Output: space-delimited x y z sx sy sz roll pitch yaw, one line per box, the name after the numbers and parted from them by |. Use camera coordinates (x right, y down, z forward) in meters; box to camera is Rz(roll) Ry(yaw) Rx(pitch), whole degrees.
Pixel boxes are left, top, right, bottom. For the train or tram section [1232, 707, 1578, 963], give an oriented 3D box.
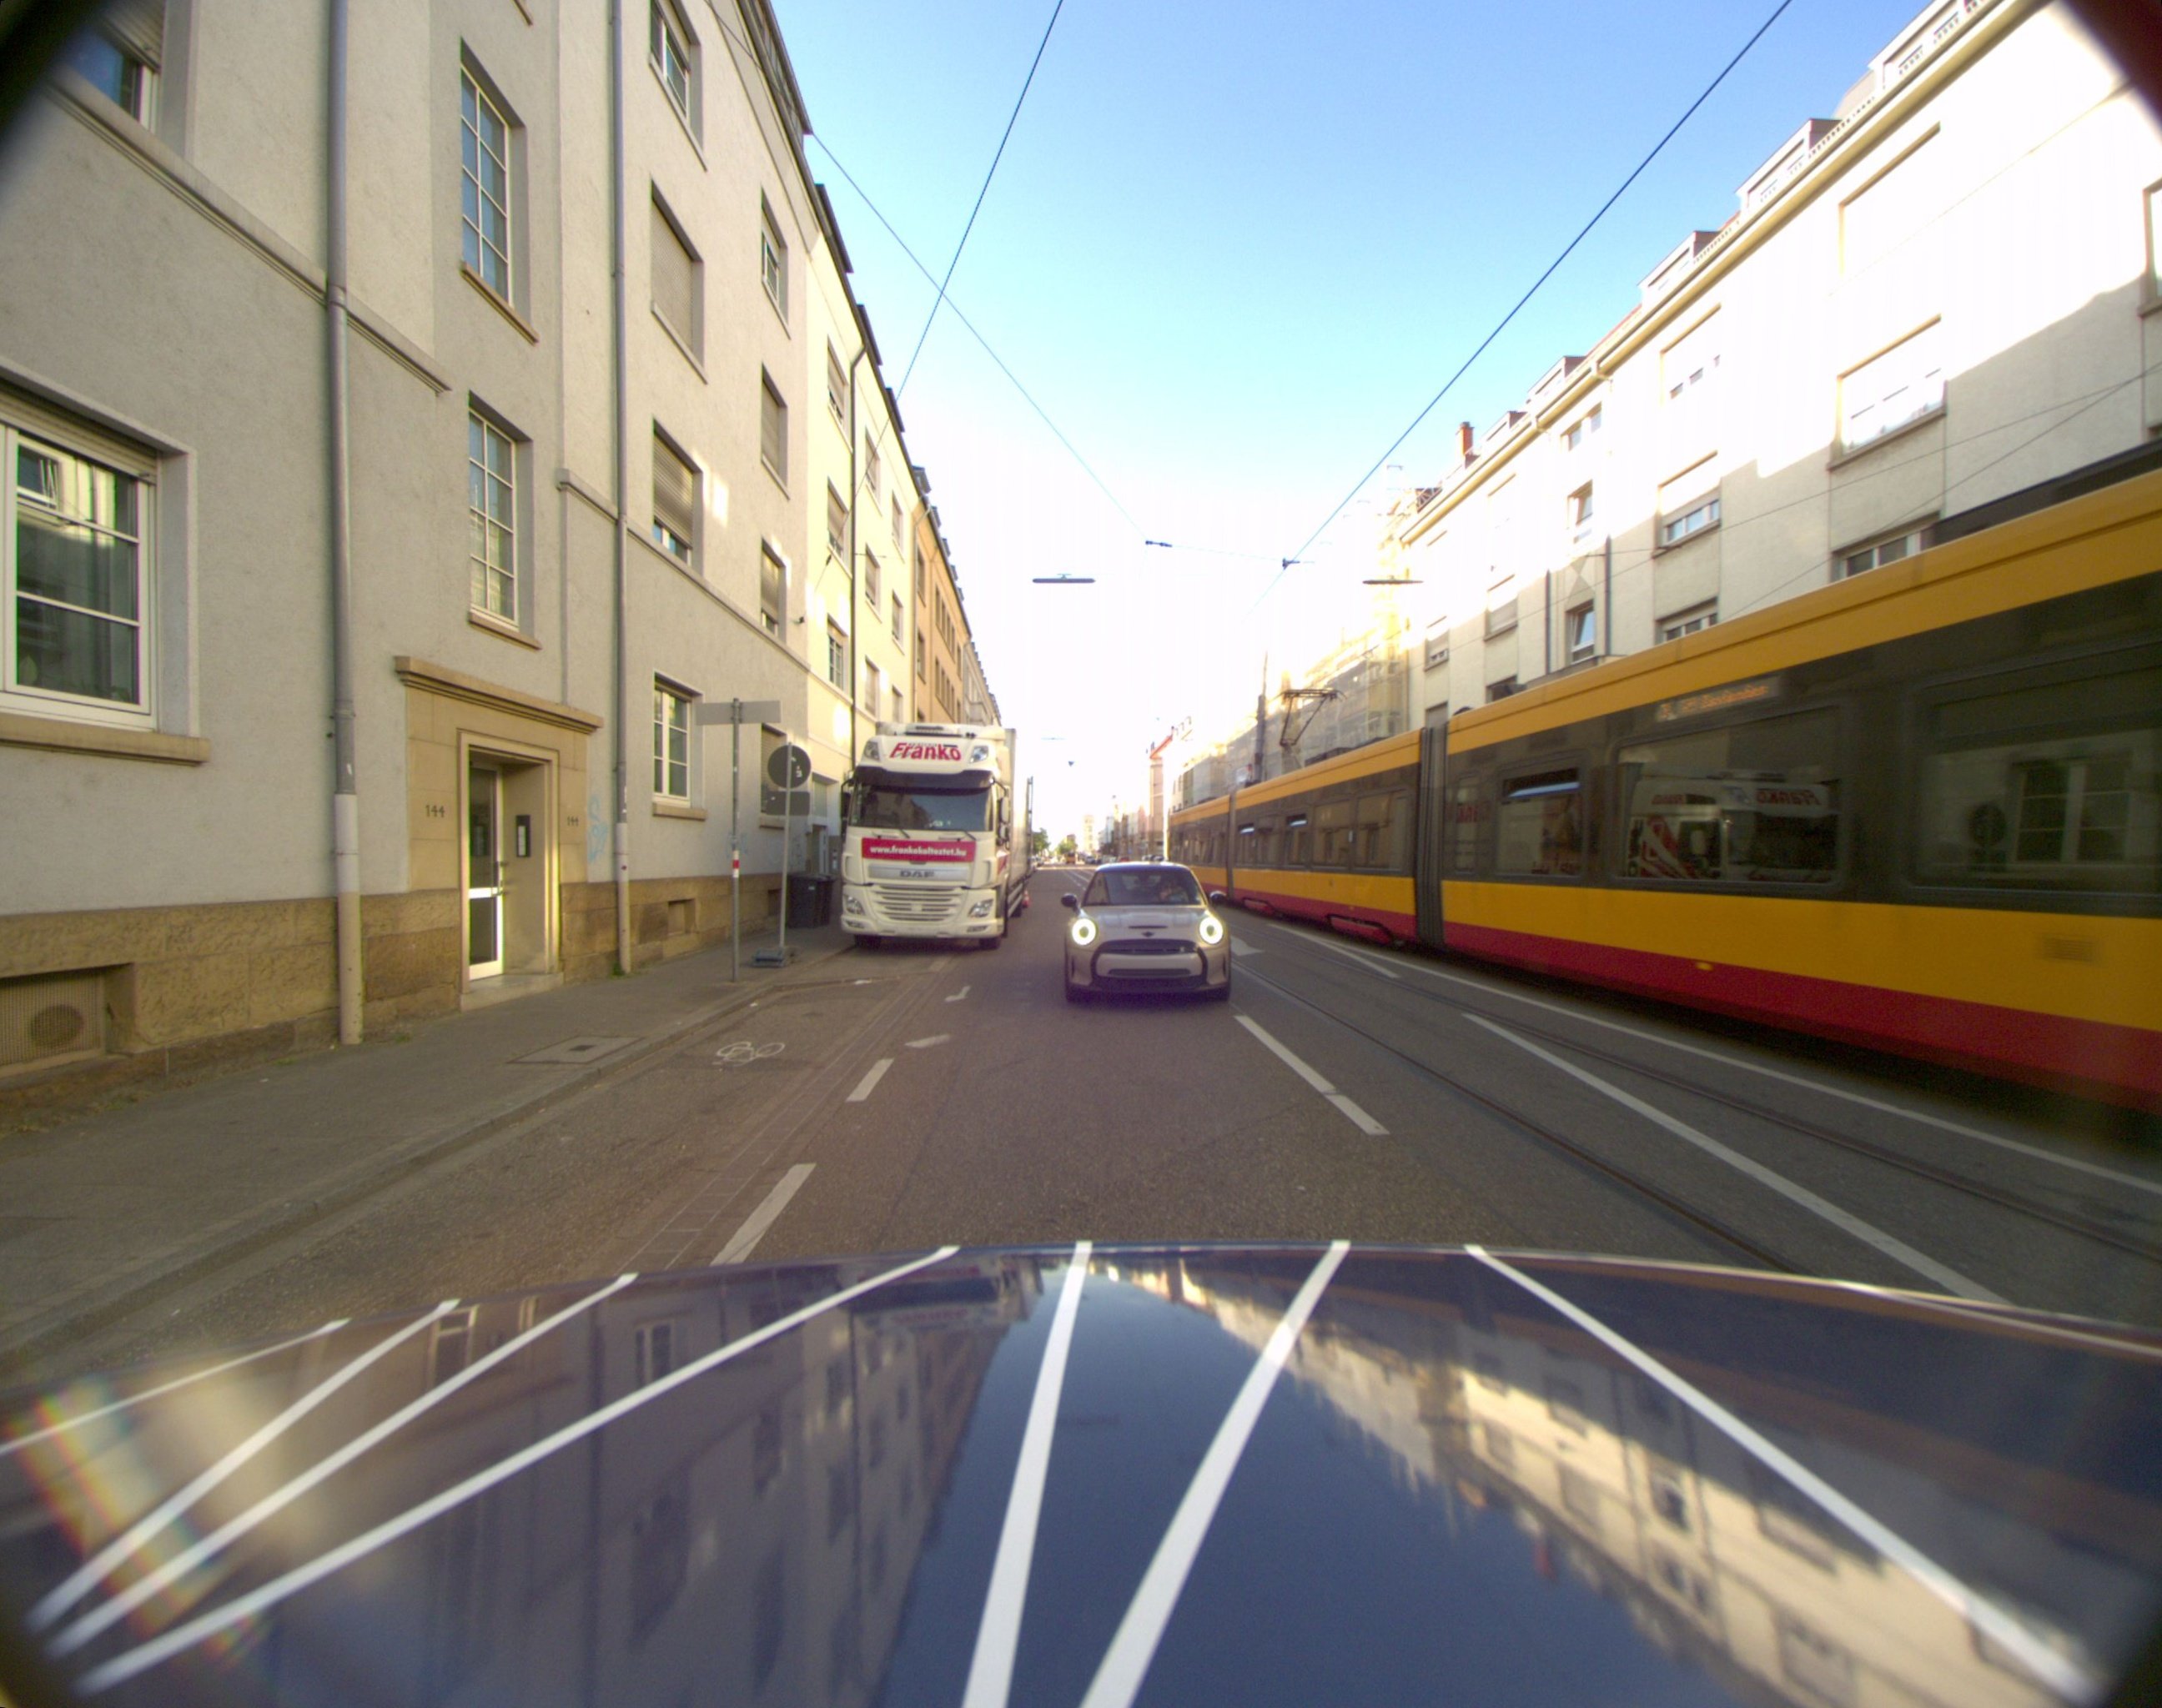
5.636 -0.312 15.591 2.833 3.610 9.081 -2 1 -2 | train or tram section

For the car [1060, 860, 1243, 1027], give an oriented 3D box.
0.649 0.846 9.038 1.692 1.495 4.000 0 0 0 | car

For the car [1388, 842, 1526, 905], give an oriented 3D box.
10.578 0.483 21.732 1.712 1.582 4.112 -2 1 -3 | car

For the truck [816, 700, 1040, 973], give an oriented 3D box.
-2.584 -0.254 17.137 2.899 3.939 11.704 -2 0 -2 | truck

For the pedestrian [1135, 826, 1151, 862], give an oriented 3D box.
7.654 -1.287 94.233 1.723 4.377 1.153 -2 1 2 | pedestrian

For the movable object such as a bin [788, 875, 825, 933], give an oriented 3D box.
-5.400 0.967 14.960 0.512 1.085 0.495 -2 1 -4 | movable object such as a bin

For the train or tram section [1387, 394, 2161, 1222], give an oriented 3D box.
6.075 -0.231 3.855 2.752 3.611 14.260 -2 1 -2 | train or tram section

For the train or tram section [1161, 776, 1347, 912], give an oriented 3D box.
5.265 -0.310 26.483 3.070 3.573 12.626 1 0 -2 | train or tram section

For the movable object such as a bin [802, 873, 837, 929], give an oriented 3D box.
-5.371 0.957 15.622 0.512 1.085 0.495 -2 1 -4 | movable object such as a bin

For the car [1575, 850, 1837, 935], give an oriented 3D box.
11.038 0.592 13.776 1.751 1.269 3.488 -2 1 -4 | car
